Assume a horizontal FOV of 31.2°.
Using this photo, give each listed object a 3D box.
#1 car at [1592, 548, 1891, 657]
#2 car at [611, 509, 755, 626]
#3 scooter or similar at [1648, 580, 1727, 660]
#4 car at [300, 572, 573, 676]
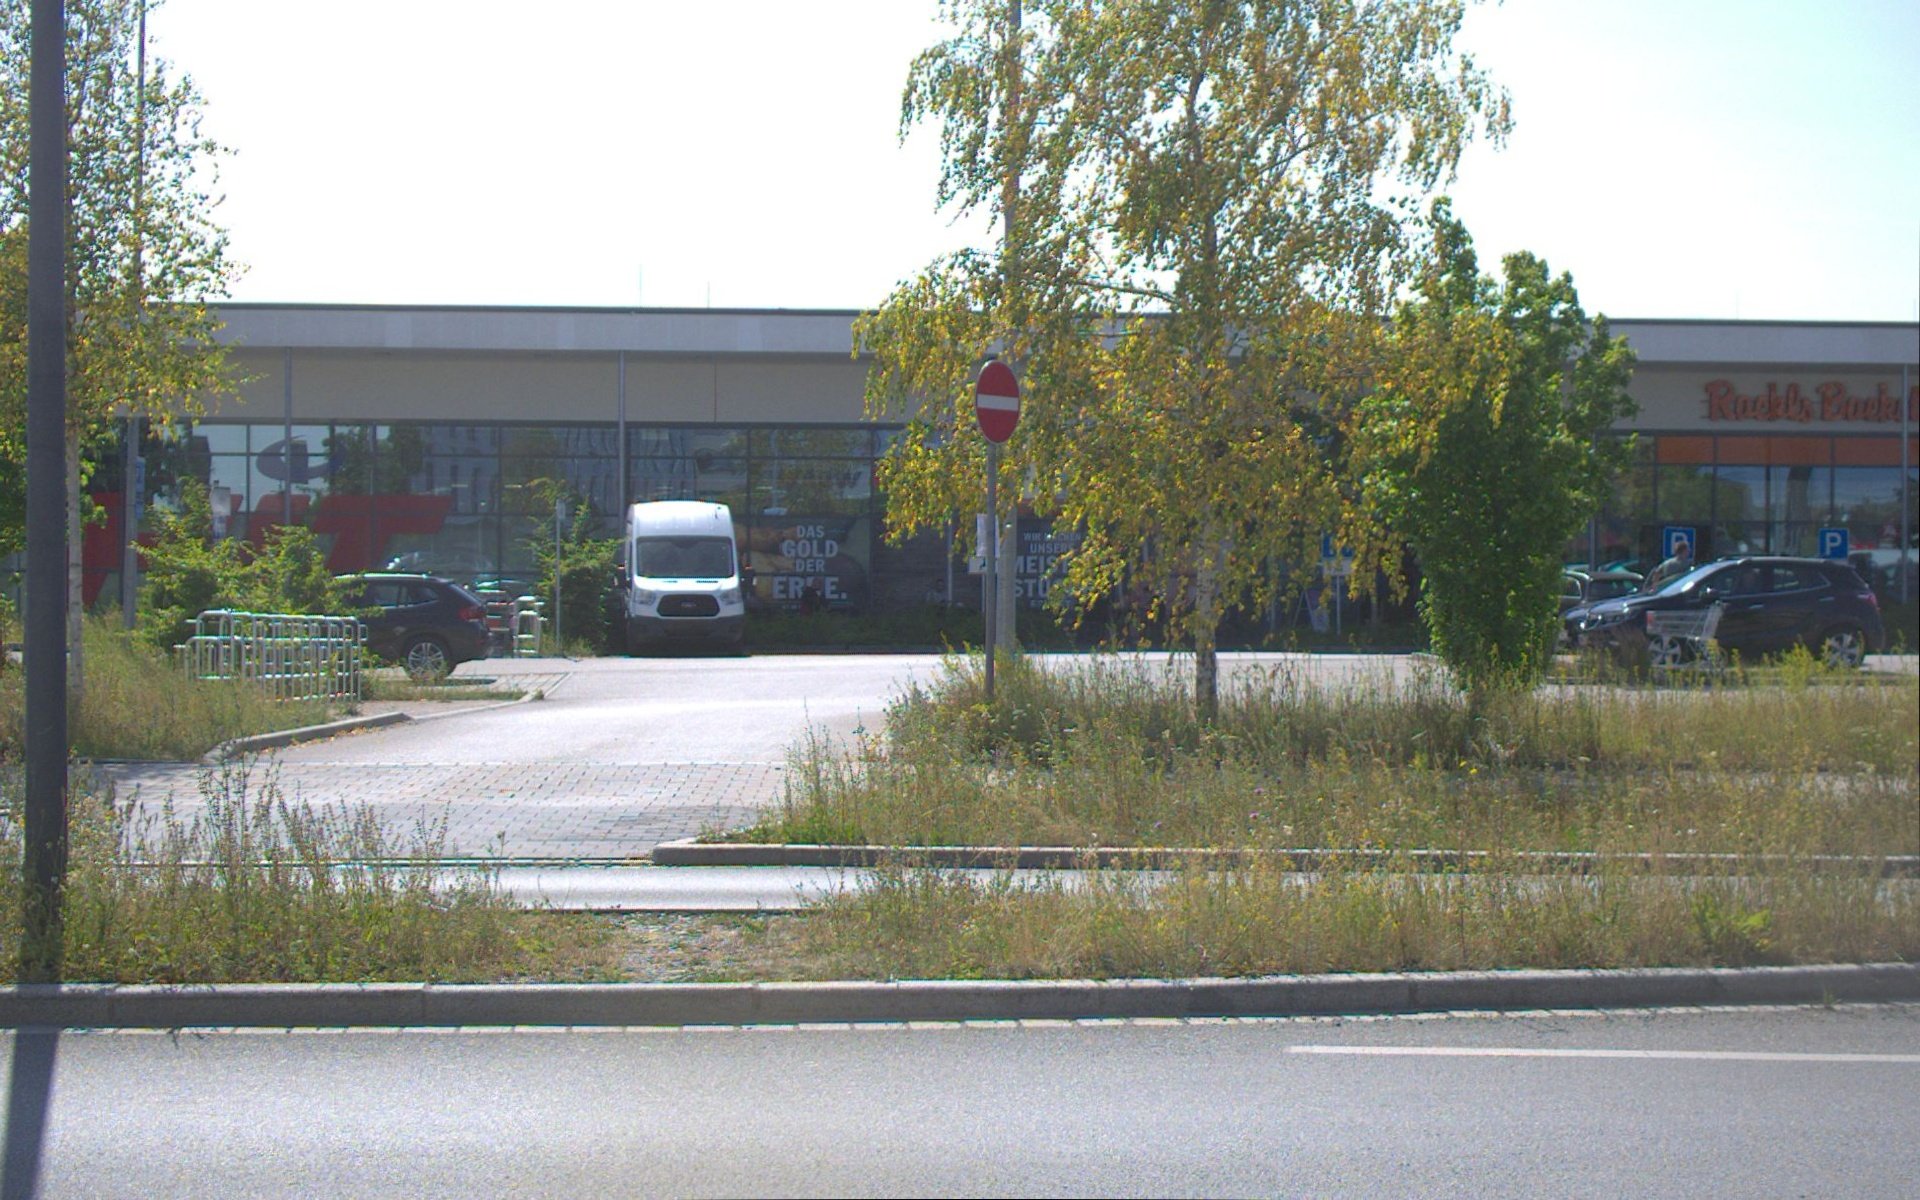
[{"bbox_3d":[11.058,0.021,48.776,3.793,1.503,1.732,0,1,-3],"label":"car"},{"bbox_3d":[-5.035,-0.606,61.666,2.222,1.970,6.698,0,1,-7],"label":"car"},{"bbox_3d":[9.950,0.269,47.053,0.943,1.076,0.652,0,1,1],"label":"scooter or similar"},{"bbox_3d":[-7.557,0.338,49.847,3.831,1.418,1.772,1,0,-7],"label":"car"}]
